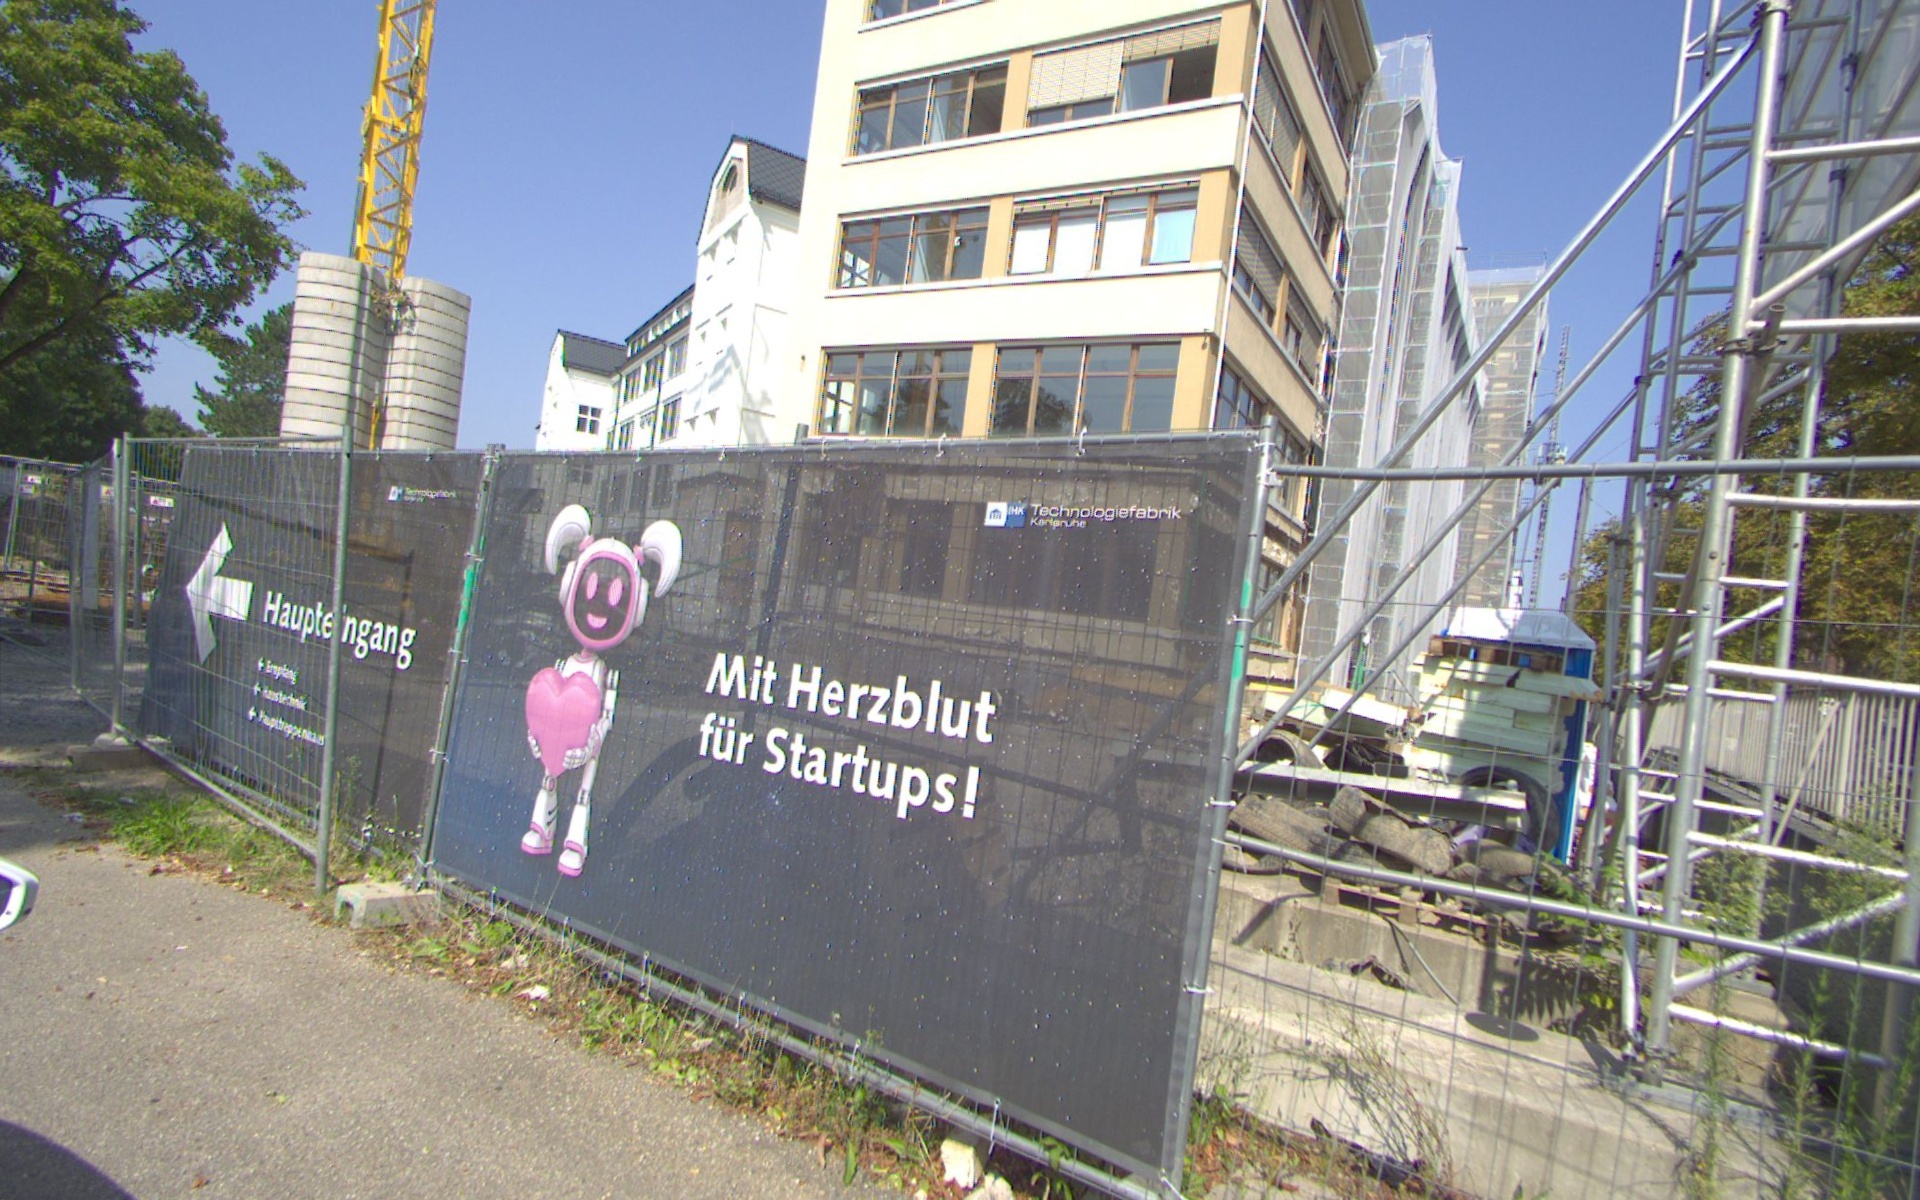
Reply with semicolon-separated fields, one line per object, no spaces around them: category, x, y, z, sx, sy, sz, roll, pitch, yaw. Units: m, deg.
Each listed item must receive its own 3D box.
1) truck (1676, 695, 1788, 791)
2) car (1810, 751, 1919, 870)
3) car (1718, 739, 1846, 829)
truck;25.477;4.620;33.416;1.890;2.629;5.586;7;-1;29
car;15.423;3.415;16.241;1.651;1.475;4.658;8;-1;30
car;20.524;4.514;25.285;1.651;1.599;4.165;9;0;30
